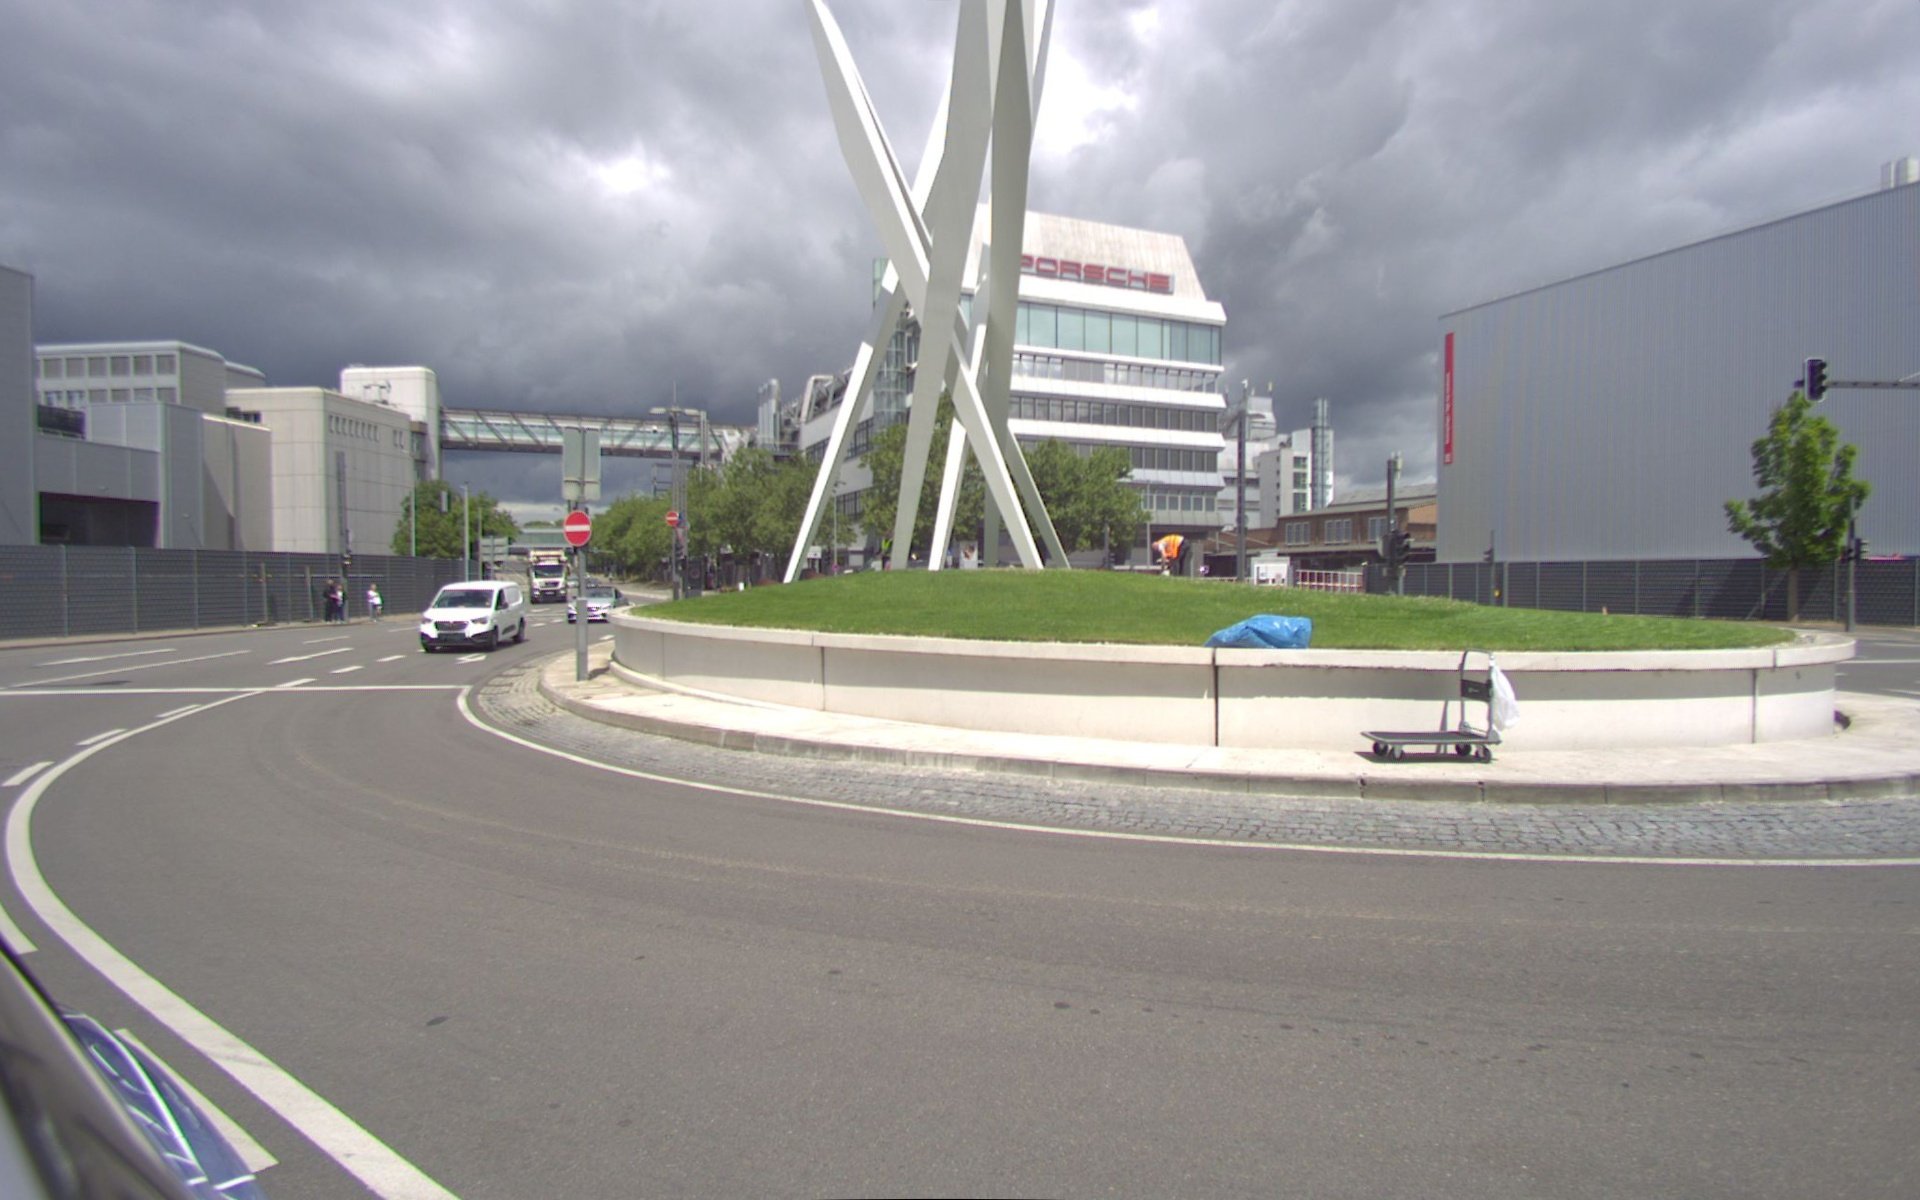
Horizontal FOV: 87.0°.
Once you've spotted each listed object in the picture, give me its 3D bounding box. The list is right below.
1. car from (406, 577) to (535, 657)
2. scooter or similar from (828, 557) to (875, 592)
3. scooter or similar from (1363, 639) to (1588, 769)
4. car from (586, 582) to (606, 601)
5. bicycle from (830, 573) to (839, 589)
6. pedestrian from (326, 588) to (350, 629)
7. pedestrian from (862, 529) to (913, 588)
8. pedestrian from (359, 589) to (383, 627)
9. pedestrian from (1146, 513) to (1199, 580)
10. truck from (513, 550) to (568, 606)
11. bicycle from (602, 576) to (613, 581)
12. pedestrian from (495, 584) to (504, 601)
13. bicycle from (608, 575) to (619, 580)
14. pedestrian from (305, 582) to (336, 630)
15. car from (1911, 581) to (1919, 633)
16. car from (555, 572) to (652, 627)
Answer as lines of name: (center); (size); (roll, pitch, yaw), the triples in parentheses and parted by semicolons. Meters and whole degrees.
car: (-13.529, 0.438, 28.276); (1.798, 2.029, 4.396); (-1, 0, -5)
scooter or similar: (-3.354, -0.804, 31.313); (1.383, 1.033, 0.550); (-3, 3, -43)
scooter or similar: (3.780, 0.745, 7.543); (1.247, 0.854, 0.907); (-1, 1, 8)
car: (-41.563, -0.967, 115.558); (1.841, 1.970, 4.728); (-3, 4, -23)
bicycle: (-9.274, -1.397, 74.976); (0.292, 1.139, 1.490); (-2, 3, -21)
pedestrian: (-25.443, 0.342, 41.398); (0.463, 1.627, 0.657); (0, 3, 28)
pedestrian: (-2.320, -1.313, 32.280); (1.265, 1.830, 0.988); (1, 1, -40)
pedestrian: (-25.825, 0.348, 44.407); (0.650, 1.620, 0.825); (-2, 2, -13)
pedestrian: (4.893, -1.229, 23.341); (0.843, 1.417, 0.965); (5, 2, -2)
truck: (-31.689, -1.692, 76.212); (2.668, 3.914, 10.776); (-2, 2, -28)
bicycle: (-84.645, -5.235, 242.929); (2.520, 1.186, 0.618); (-2, 3, -23)
pedestrian: (-48.360, -0.753, 106.240); (0.783, 1.733, 0.734); (-2, 3, -28)
bicycle: (-79.278, -5.097, 231.566); (2.520, 1.093, 0.618); (-2, 3, -18)
pedestrian: (-25.760, 0.229, 40.787); (0.658, 1.880, 0.786); (0, 3, 28)
car: (31.045, 0.242, 29.886); (3.938, 1.568, 1.787); (0, 3, 27)
car: (-14.742, -0.079, 42.131); (1.851, 1.970, 4.702); (-1, 3, 7)
